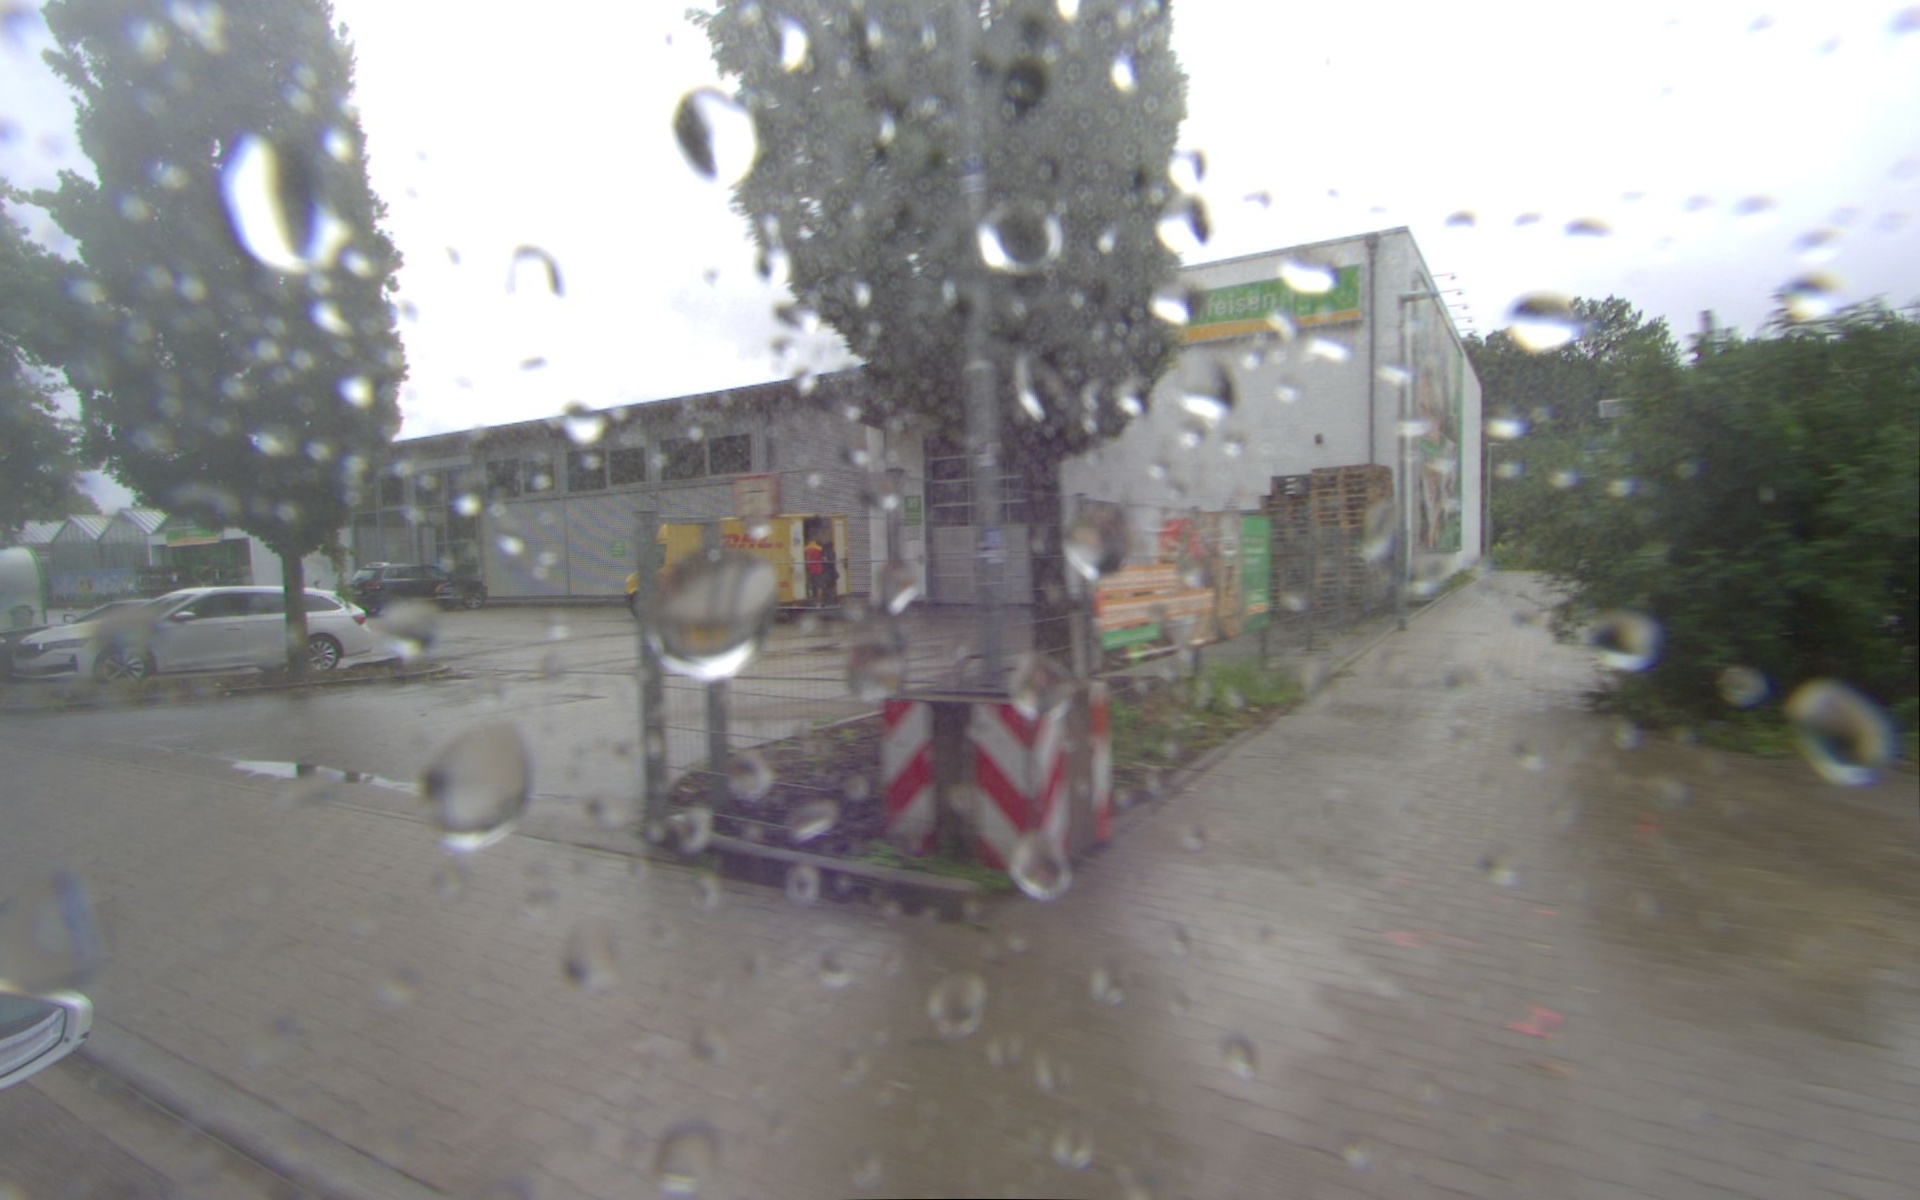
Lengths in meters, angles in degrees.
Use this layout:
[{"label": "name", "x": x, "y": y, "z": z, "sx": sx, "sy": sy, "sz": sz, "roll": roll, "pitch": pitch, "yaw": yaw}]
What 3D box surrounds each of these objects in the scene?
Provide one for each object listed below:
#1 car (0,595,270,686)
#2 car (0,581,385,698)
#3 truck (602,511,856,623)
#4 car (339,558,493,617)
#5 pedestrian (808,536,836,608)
[{"label": "car", "x": -14.446, "y": 0.628, "z": 17.197, "sx": 1.595, "sy": 1.273, "sz": 3.931, "roll": 0, "pitch": 2, "yaw": 30}, {"label": "car", "x": -12.157, "y": 0.505, "z": 16.123, "sx": 1.862, "sy": 1.483, "sz": 4.694, "roll": 0, "pitch": 2, "yaw": 30}, {"label": "truck", "x": -6.407, "y": -0.856, "z": 27.147, "sx": 7.315, "sy": 2.697, "sz": 2.292, "roll": 0, "pitch": 5, "yaw": 35}, {"label": "car", "x": -19.444, "y": -0.492, "z": 35.989, "sx": 2.034, "sy": 1.858, "sz": 4.349, "roll": 0, "pitch": 4, "yaw": 33}, {"label": "pedestrian", "x": -3.398, "y": -0.691, "z": 24.677, "sx": 0.427, "sy": 1.742, "sz": 0.453, "roll": 1, "pitch": 5, "yaw": 35}]
